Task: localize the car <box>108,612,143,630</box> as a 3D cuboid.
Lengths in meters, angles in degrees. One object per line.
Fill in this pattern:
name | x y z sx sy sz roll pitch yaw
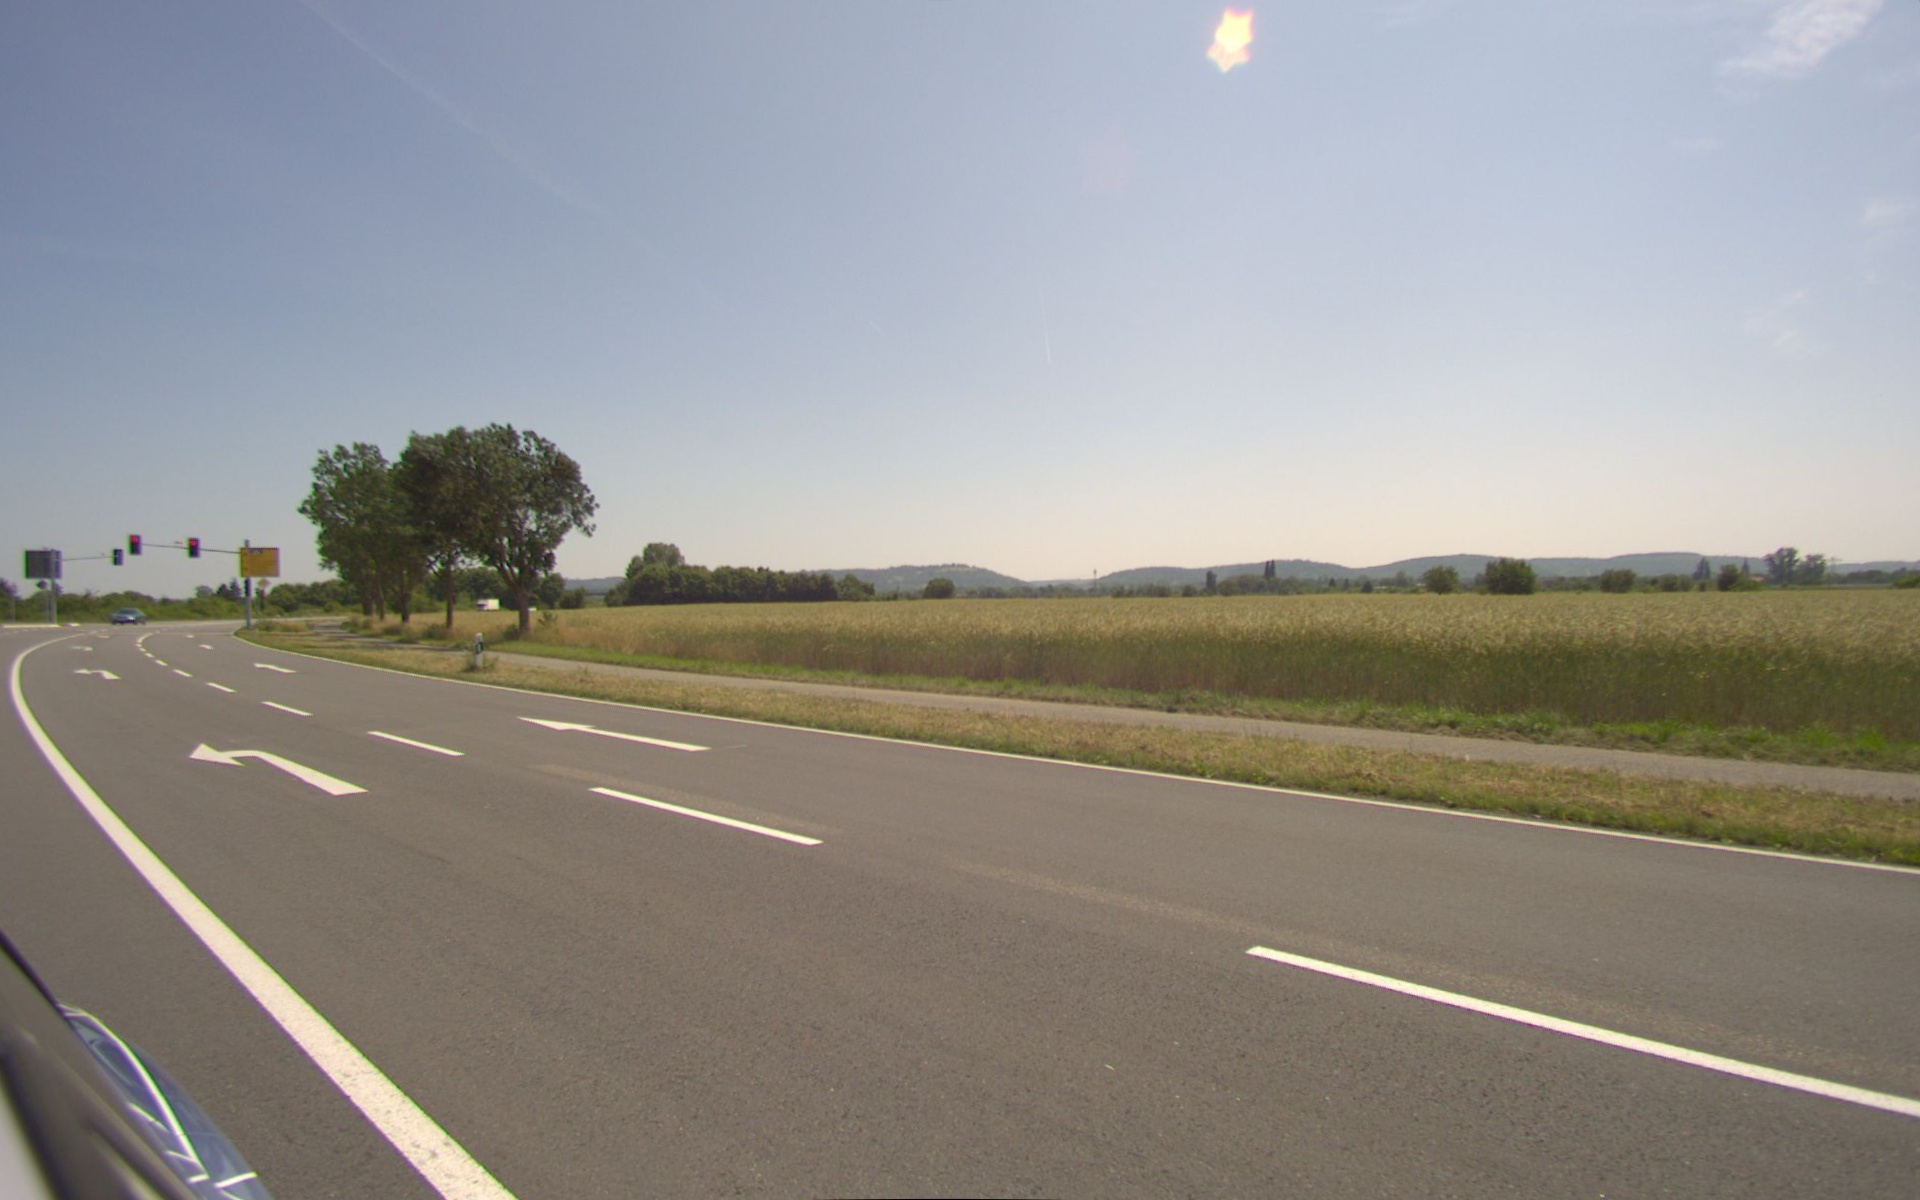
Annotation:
car | -74.134 1.886 89.931 1.629 1.578 4.013 0 -1 -28
